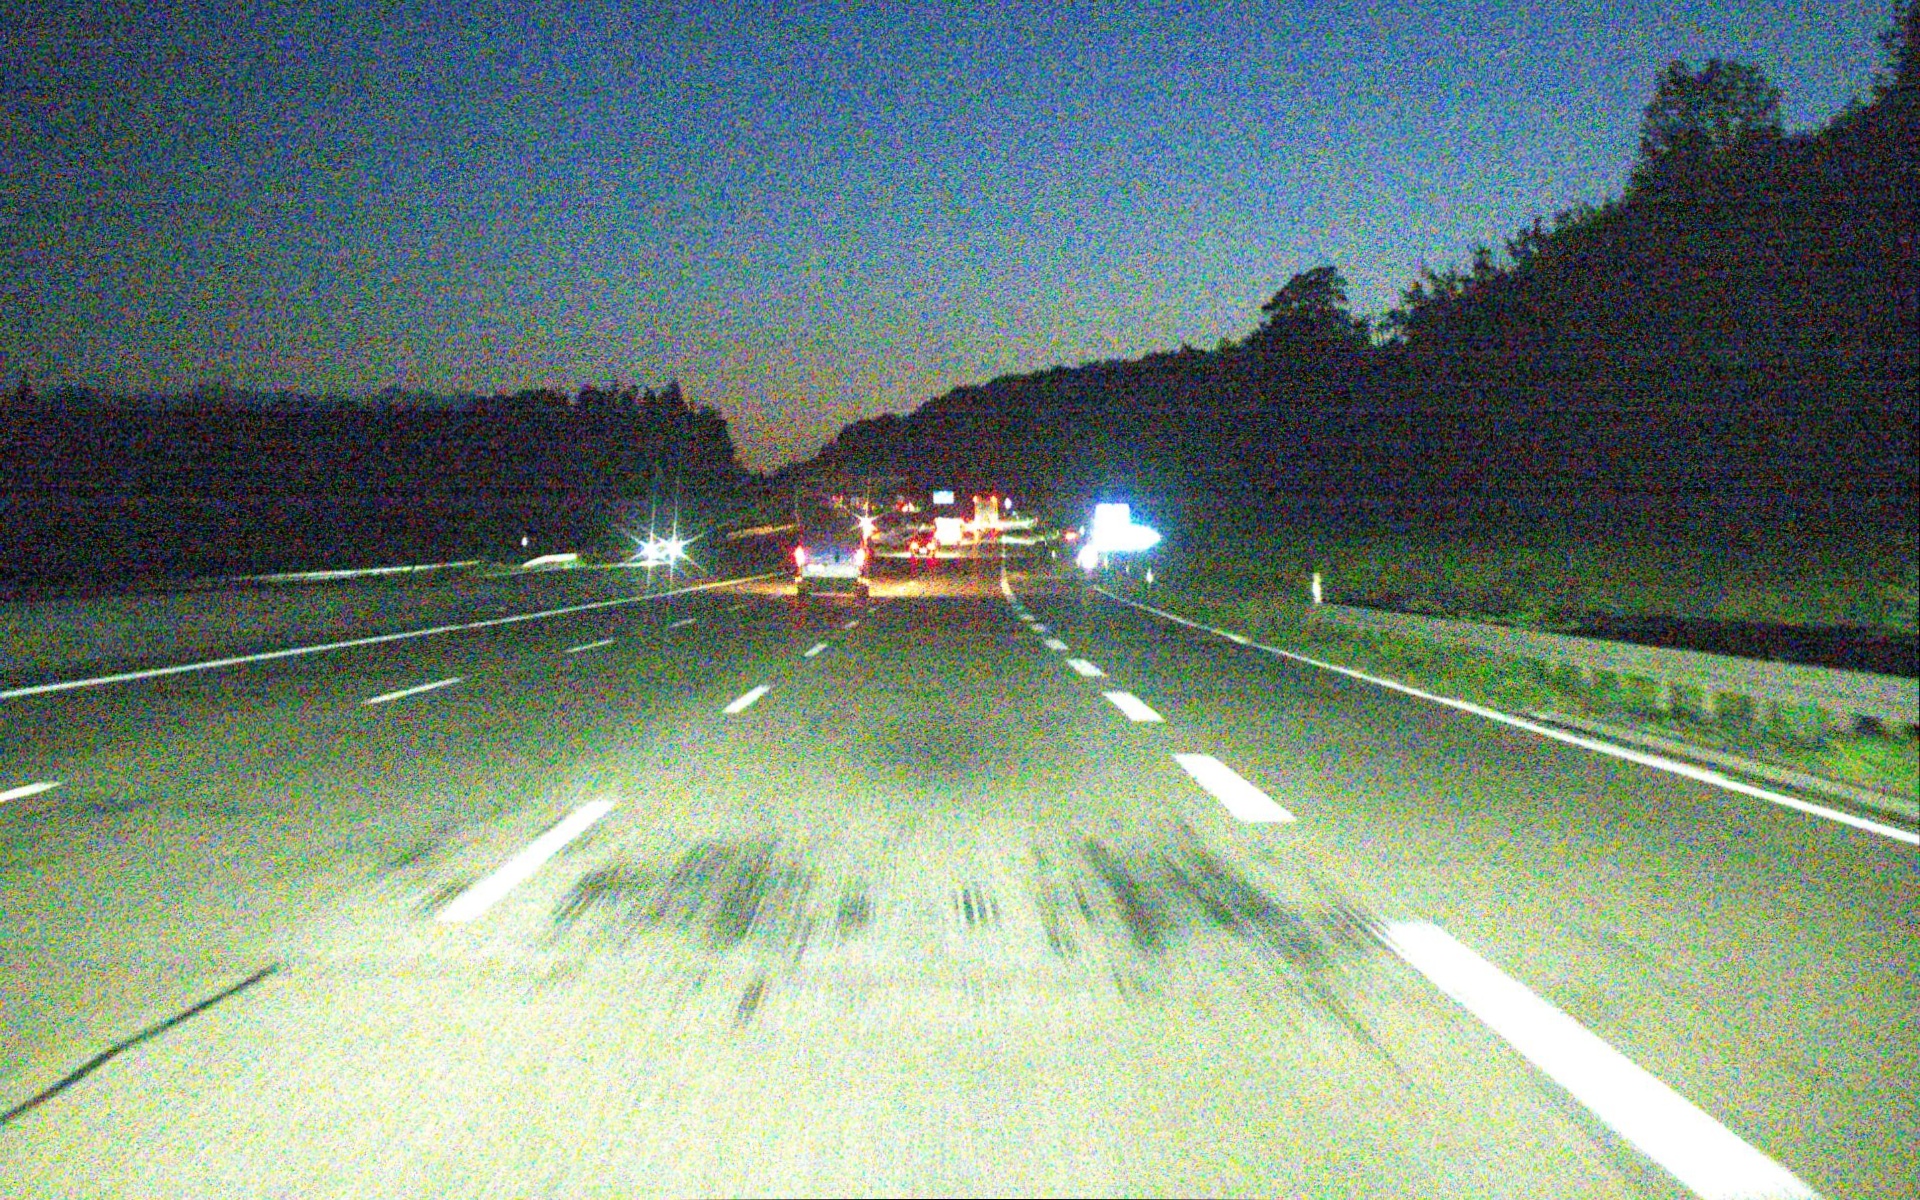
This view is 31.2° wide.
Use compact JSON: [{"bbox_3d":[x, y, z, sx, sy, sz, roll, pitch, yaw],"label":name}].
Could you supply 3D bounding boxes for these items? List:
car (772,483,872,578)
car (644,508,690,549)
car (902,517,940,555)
[{"bbox_3d":[-4.160,-2.077,104.597,2.786,2.724,6.299,0,0,0],"label":"car"},{"bbox_3d":[-21.766,-5.311,255.464,2.846,2.927,6.602,1,1,0],"label":"car"},{"bbox_3d":[-2.914,-4.813,257.927,2.786,2.724,6.299,0,0,-1],"label":"car"}]
